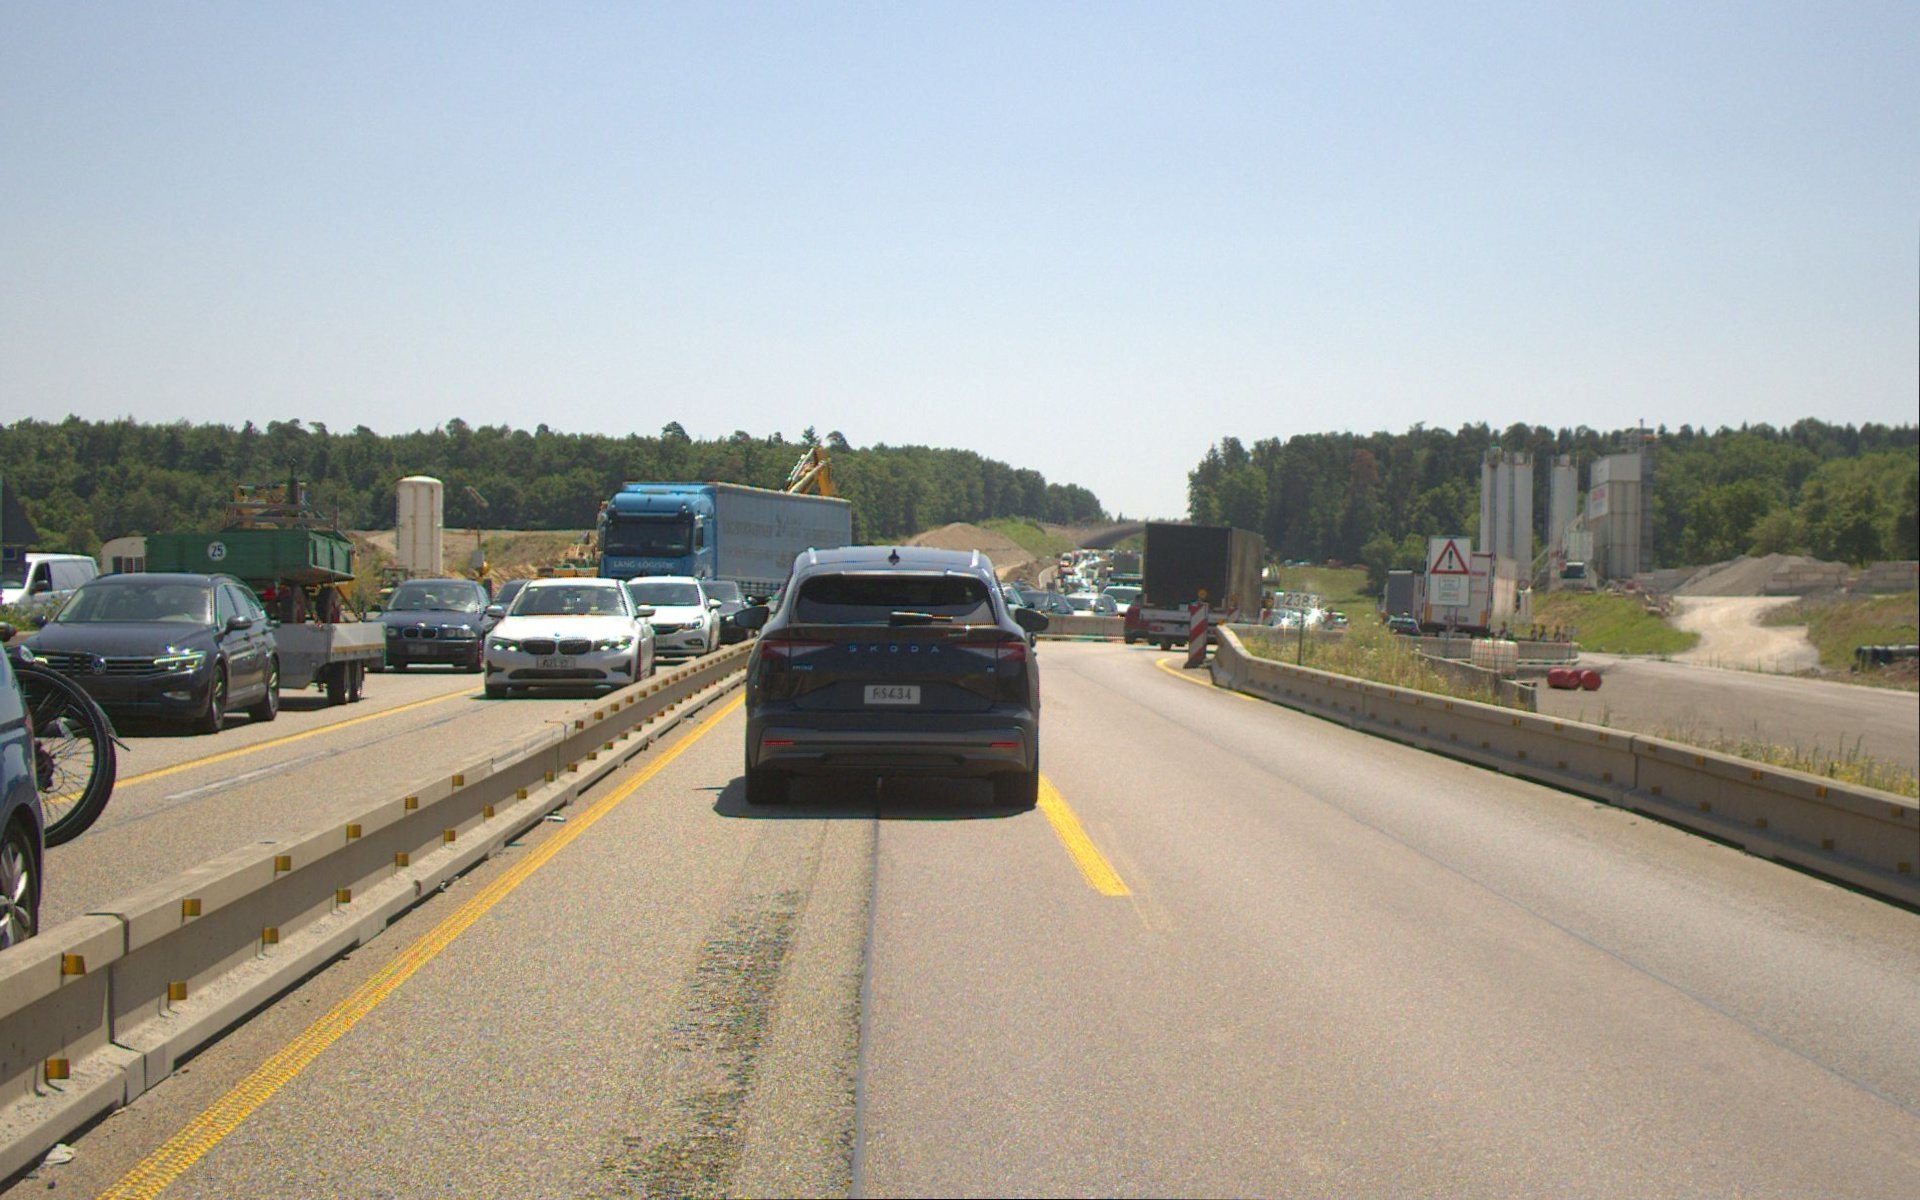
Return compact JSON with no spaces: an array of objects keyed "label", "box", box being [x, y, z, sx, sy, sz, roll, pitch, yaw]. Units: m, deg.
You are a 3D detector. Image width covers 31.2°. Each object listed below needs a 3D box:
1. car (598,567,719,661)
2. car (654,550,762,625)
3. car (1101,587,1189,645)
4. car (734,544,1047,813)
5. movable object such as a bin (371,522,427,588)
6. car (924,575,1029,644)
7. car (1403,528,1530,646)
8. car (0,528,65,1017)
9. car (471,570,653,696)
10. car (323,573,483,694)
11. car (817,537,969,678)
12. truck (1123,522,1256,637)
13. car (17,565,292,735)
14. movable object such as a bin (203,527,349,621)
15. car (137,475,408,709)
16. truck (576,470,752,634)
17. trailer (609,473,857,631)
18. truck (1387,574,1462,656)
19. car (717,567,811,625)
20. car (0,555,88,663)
[{"label":"car","box":[-5.108,0.206,58.690,1.734,1.473,4.520,0,1,-1]},{"label":"car","box":[-5.218,-0.294,71.674,2.016,1.439,4.588,0,2,-2]},{"label":"car","box":[5.665,0.503,104.843,1.822,1.638,3.862,3,0,16]},{"label":"car","box":[-0.427,0.434,22.428,1.842,1.576,4.000,1,1,0]},{"label":"movable object such as a bin","box":[-29.002,-2.341,177.521,2.421,3.115,5.483,5,1,-11]},{"label":"car","box":[0.418,0.198,81.406,2.046,1.521,5.065,1,1,5]},{"label":"car","box":[19.643,-0.434,132.818,3.439,4.087,9.190,5,1,15]},{"label":"car","box":[-4.086,0.589,10.102,1.904,1.603,4.000,1,1,-1]},{"label":"car","box":[-4.793,0.359,41.871,1.816,1.371,4.248,1,1,-2]},{"label":"car","box":[-8.027,0.449,49.826,1.767,1.592,4.001,0,2,-2]},{"label":"car","box":[-0.985,0.082,48.565,1.993,1.837,4.000,2,0,-2]},{"label":"truck","box":[6.157,-0.518,91.525,2.674,2.936,5.617,1,0,13]},{"label":"car","box":[-7.520,0.421,32.465,1.687,1.447,4.336,0,1,-2]},{"label":"movable object such as a bin","box":[-25.990,-0.990,130.884,3.795,3.245,5.555,4,1,6]},{"label":"car","box":[-7.823,-0.142,39.768,1.914,2.390,6.453,3,1,-2]},{"label":"truck","box":[-7.707,-1.252,90.287,2.916,4.115,6.135,1,1,12]},{"label":"trailer","box":[-6.169,-1.323,96.934,2.916,4.115,13.907,1,1,14]},{"label":"truck","box":[26.351,0.802,195.472,3.476,4.206,10.374,6,1,6]},{"label":"car","box":[-4.953,-0.124,87.263,1.589,1.436,4.123,0,1,8]},{"label":"car","box":[-18.688,0.134,66.868,1.918,1.934,5.093,1,2,3]}]
